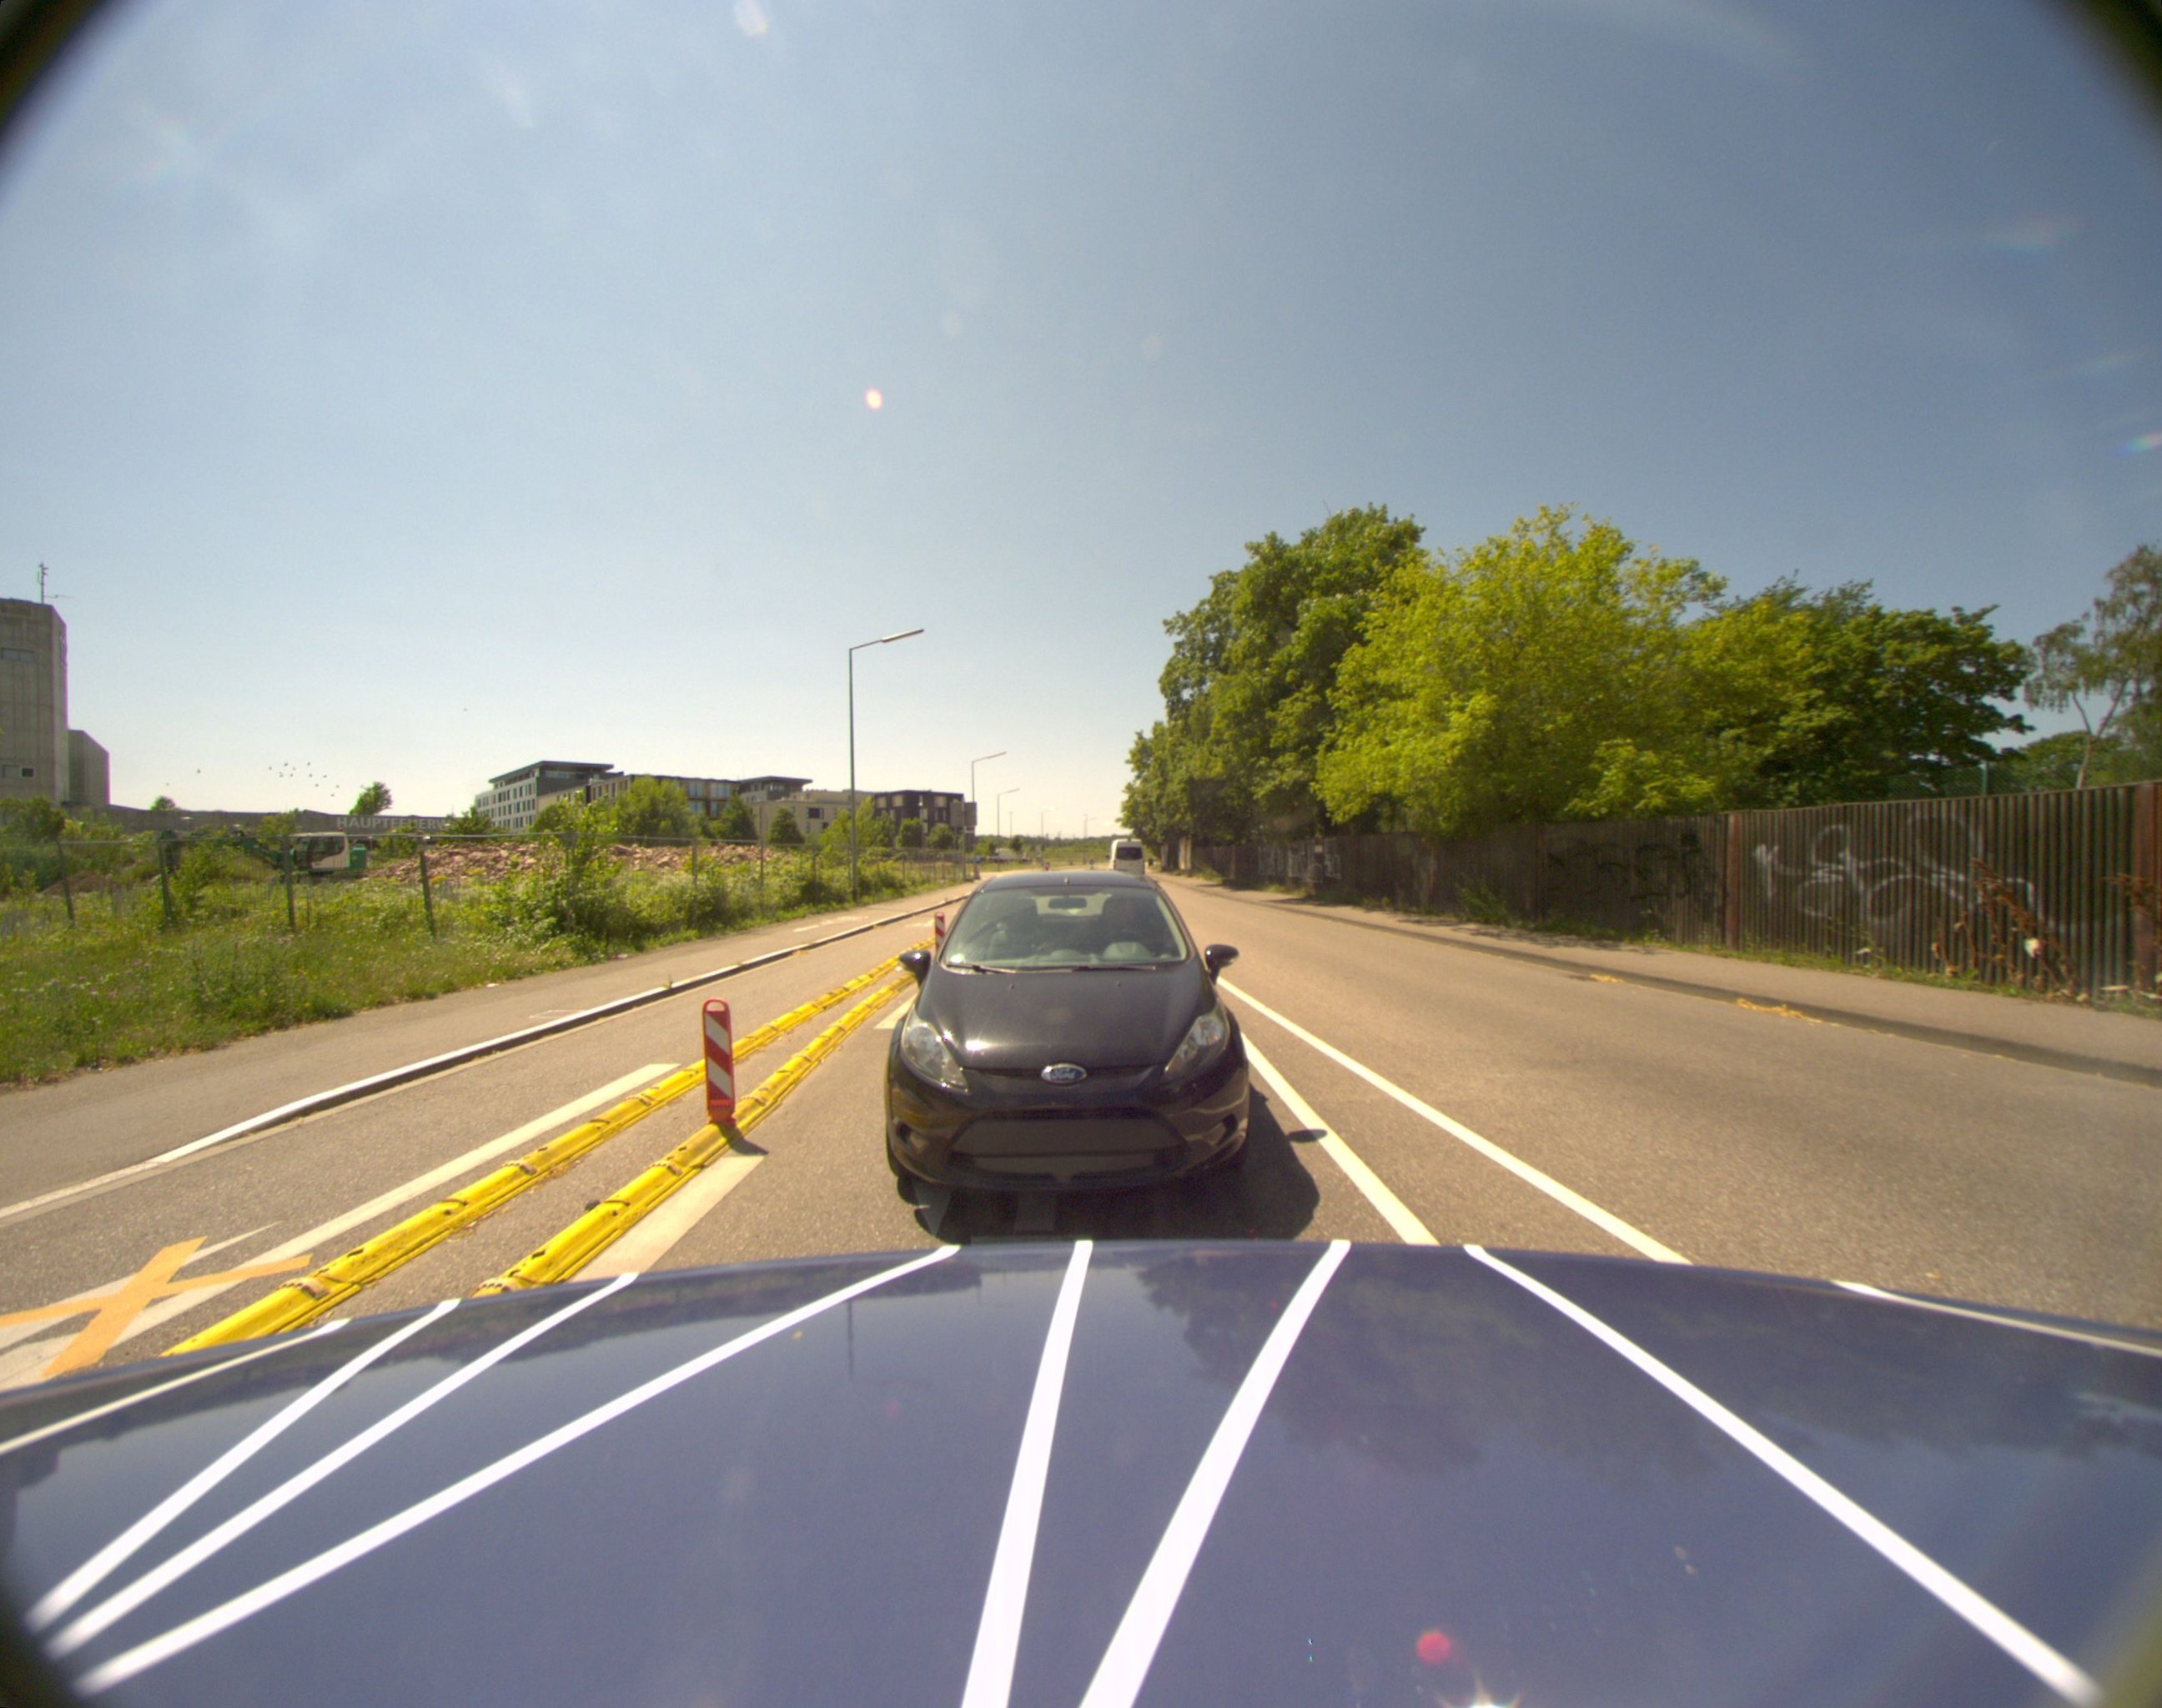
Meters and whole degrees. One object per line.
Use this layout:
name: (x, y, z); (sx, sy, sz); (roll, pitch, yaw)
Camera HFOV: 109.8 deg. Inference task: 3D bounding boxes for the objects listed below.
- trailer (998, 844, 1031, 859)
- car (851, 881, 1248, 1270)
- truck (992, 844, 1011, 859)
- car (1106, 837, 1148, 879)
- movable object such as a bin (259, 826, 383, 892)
trailer: (-15.167, -0.624, 174.450); (8.194, 3.329, 1.994); (-1, 0, -45)
car: (-0.110, 0.988, 5.139); (1.602, 1.422, 4.000); (-2, 0, 1)
truck: (-17.923, -0.622, 171.709); (4.008, 3.316, 1.994); (-1, 1, -45)
car: (2.908, 0.221, 49.287); (2.025, 2.524, 6.825); (0, 0, -2)
movable object such as a bin: (-37.645, 0.229, 37.784); (2.204, 3.045, 3.690); (-2, 1, 6)
